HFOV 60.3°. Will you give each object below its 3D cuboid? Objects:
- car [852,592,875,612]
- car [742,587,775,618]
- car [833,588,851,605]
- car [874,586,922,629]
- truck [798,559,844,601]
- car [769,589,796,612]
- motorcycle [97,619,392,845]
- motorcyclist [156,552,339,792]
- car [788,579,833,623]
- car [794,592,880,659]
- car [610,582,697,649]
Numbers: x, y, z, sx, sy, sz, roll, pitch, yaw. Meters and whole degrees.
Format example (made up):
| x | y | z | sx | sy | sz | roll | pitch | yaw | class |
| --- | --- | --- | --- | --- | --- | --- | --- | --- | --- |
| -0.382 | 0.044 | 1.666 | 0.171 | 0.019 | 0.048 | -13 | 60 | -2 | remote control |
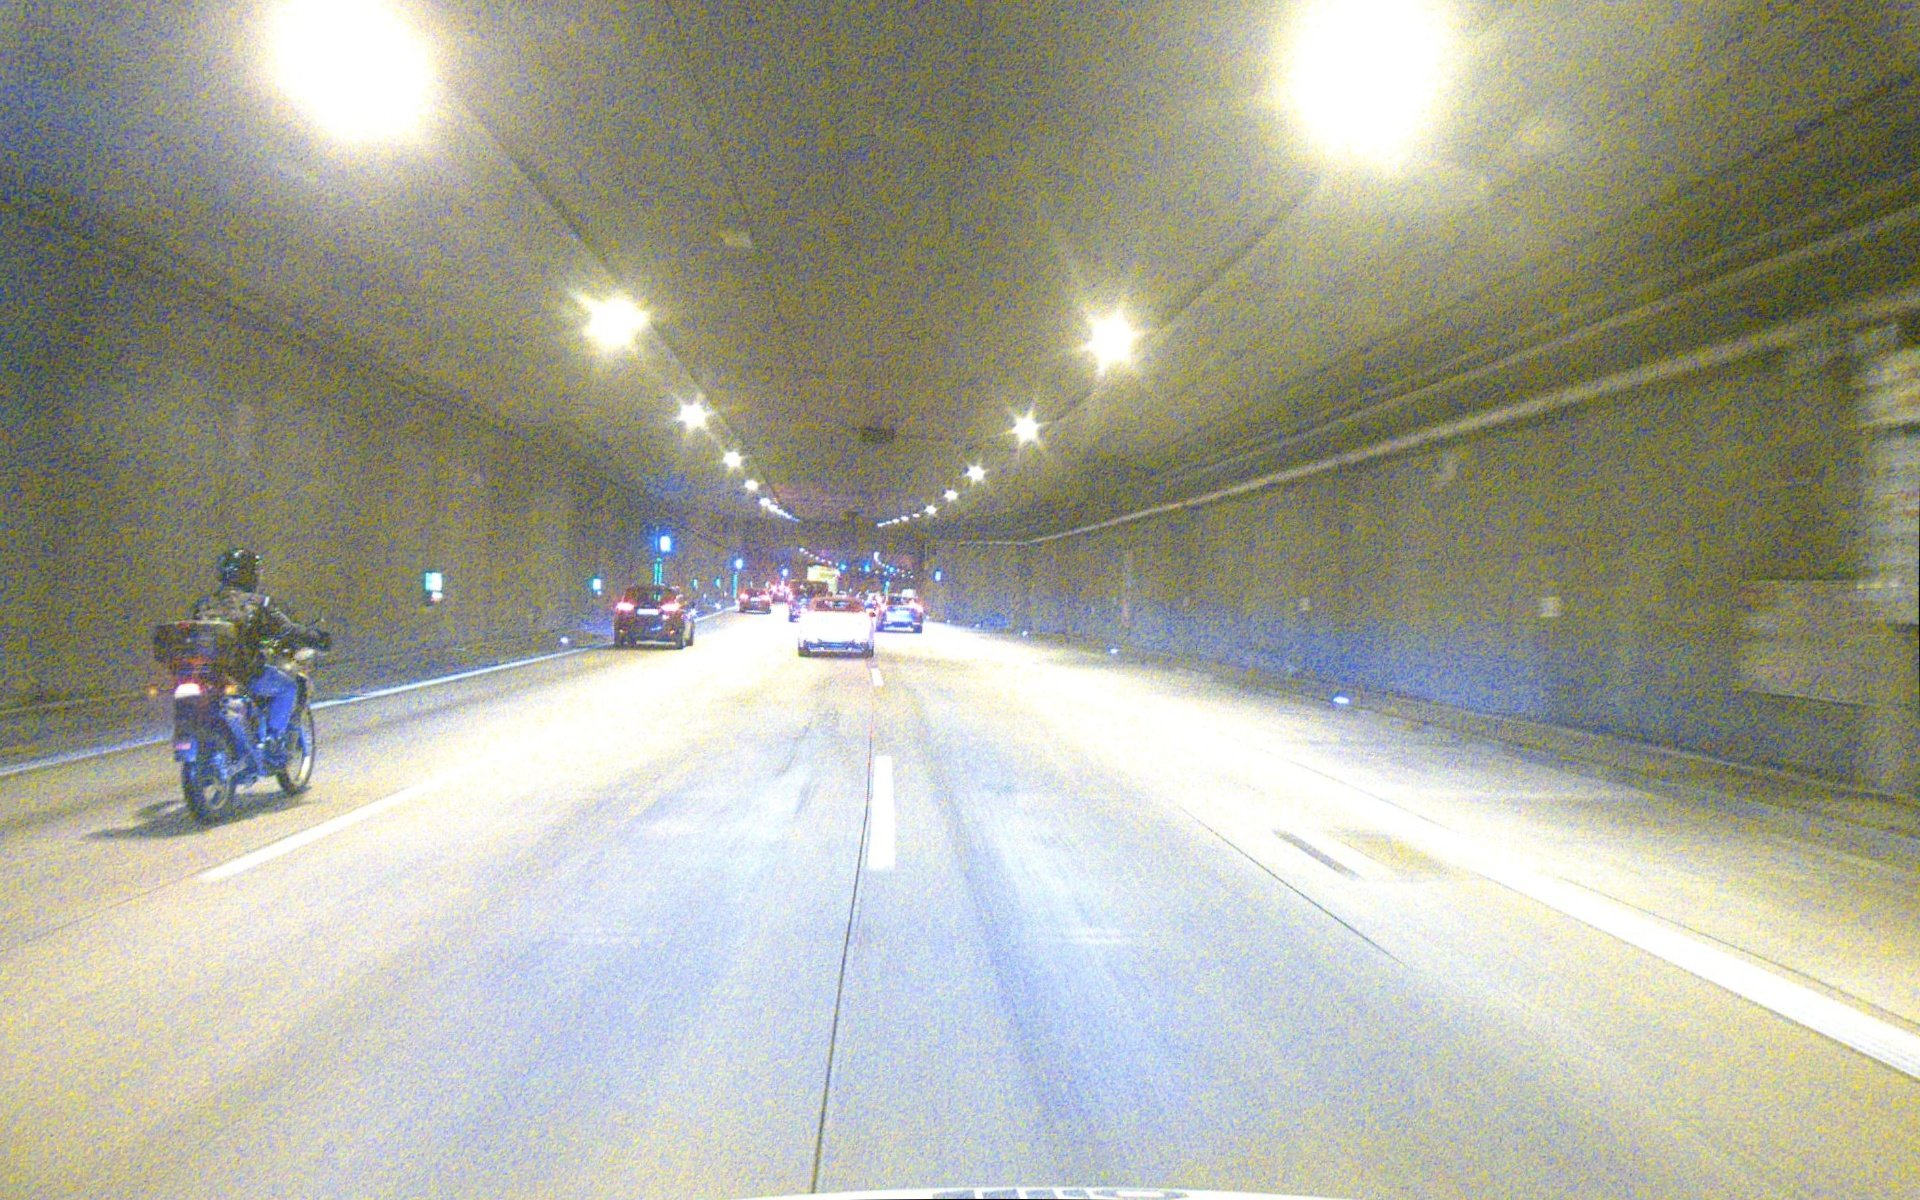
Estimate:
| x | y | z | sx | sy | sz | roll | pitch | yaw | class |
| --- | --- | --- | --- | --- | --- | --- | --- | --- | --- |
| -9.047 | 0.222 | 154.760 | 1.954 | 1.785 | 3.996 | 2 | 0 | -4 | car |
| -11.396 | 0.134 | 93.603 | 1.766 | 1.713 | 3.994 | 1 | 0 | -7 | car |
| -13.398 | -0.406 | 187.681 | 1.954 | 1.785 | 3.997 | 2 | 0 | -4 | car |
| -2.472 | 0.305 | 65.821 | 1.803 | 1.630 | 3.998 | 1 | 0 | -2 | car |
| -11.057 | -1.597 | 132.227 | 3.021 | 3.167 | 10.026 | 2 | 1 | -2 | truck |
| -15.118 | 0.084 | 140.883 | 1.961 | 1.892 | 4.286 | -1 | -1 | -3 | car |
| -4.638 | 0.787 | 10.990 | 0.828 | 1.267 | 2.604 | 0 | 0 | 0 | motorcycle |
| -4.642 | 0.450 | 10.823 | 0.822 | 1.503 | 0.821 | 0 | 0 | 1 | motorcyclist |
| -7.007 | 0.068 | 77.859 | 1.954 | 2.006 | 3.997 | 0 | 0 | -3 | car |
| -2.961 | 0.591 | 39.879 | 1.954 | 1.509 | 3.996 | 1 | 0 | -4 | car |
| -7.829 | 0.376 | 42.523 | 1.750 | 1.626 | 3.798 | 1 | 0 | -4 | car |
